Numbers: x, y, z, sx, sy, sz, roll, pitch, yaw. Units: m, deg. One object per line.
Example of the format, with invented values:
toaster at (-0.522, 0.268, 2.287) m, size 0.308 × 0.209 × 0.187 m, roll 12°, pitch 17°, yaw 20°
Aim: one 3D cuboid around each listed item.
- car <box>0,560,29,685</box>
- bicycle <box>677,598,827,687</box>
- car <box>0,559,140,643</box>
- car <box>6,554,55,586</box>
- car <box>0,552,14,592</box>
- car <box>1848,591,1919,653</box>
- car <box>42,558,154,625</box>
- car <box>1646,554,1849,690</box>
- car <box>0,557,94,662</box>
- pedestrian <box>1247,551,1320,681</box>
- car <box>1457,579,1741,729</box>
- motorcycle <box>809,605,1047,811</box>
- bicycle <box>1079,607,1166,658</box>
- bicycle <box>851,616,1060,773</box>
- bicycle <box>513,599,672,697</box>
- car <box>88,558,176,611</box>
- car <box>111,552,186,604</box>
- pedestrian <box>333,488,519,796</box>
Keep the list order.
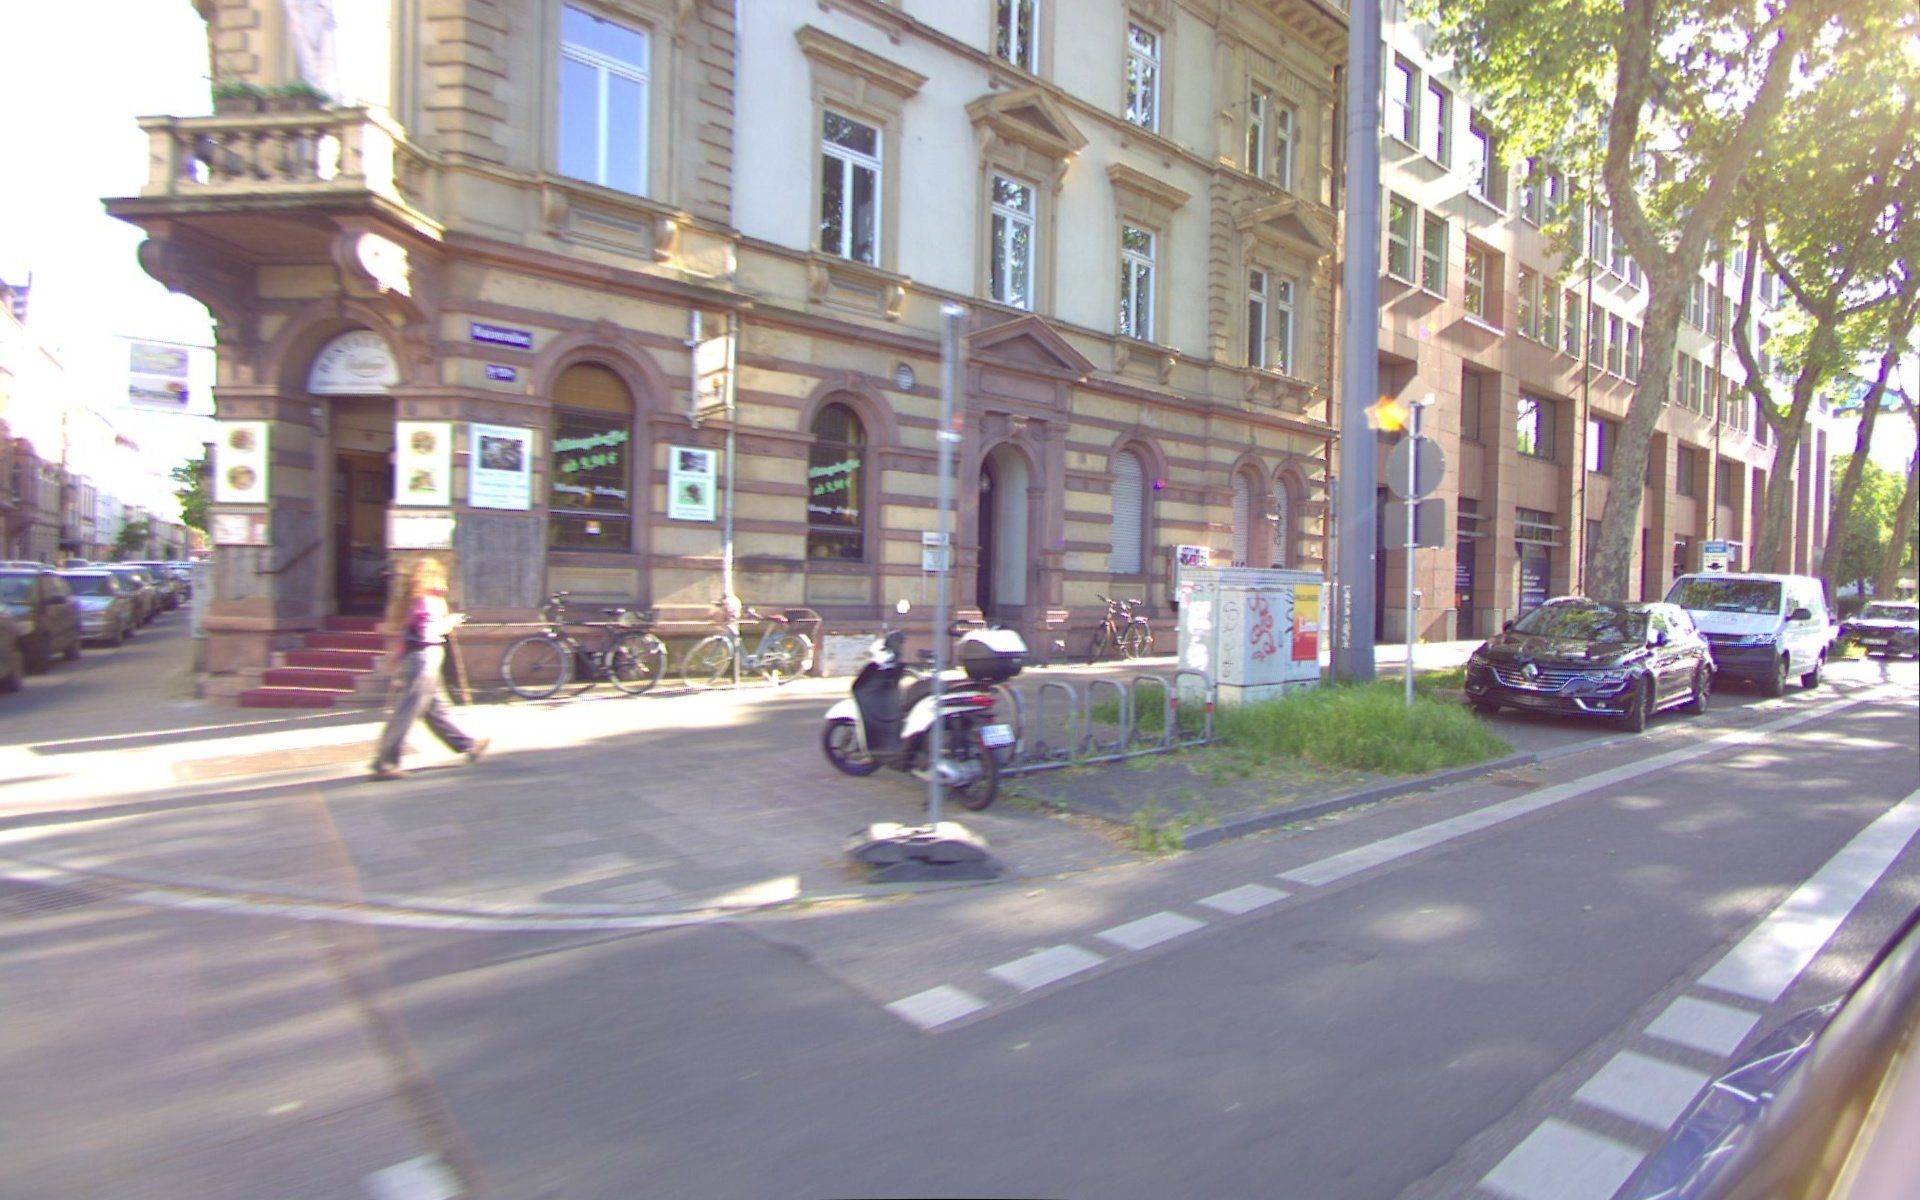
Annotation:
car at (-11.393, 0.262, 10.781) m, size 1.605 × 1.429 × 3.923 m, roll 1°, pitch 1°, yaw -34°
bicycle at (-2.539, 0.494, 12.535) m, size 1.849 × 1.010 × 0.415 m, roll 0°, pitch 1°, yaw -41°
car at (-17.286, 0.011, 19.717) m, size 1.739 × 1.460 × 4.000 m, roll 0°, pitch 0°, yaw -35°
car at (-45.128, -1.428, 49.181) m, size 1.415 × 1.460 × 2.999 m, roll 0°, pitch -1°, yaw -36°
car at (-40.258, -1.193, 41.525) m, size 1.653 × 1.616 × 3.714 m, roll 0°, pitch 2°, yaw -36°
car at (25.801, 0.560, 27.611) m, size 4.203 × 1.590 × 1.671 m, roll 0°, pitch 0°, yaw -39°
car at (-20.719, -0.220, 24.451) m, size 1.672 × 1.486 × 3.777 m, roll 0°, pitch 1°, yaw -35°
car at (13.617, 0.314, 17.393) m, size 4.641 × 2.040 × 1.859 m, roll 0°, pitch 0°, yaw -41°
car at (-14.437, 0.068, 15.223) m, size 1.668 × 1.422 × 4.002 m, roll 0°, pitch 2°, yaw -34°
pedestrian at (4.776, 0.227, 14.942) m, size 0.879 × 1.850 × 0.644 m, roll 0°, pitch -1°, yaw -40°
car at (8.279, 0.547, 12.923) m, size 4.626 × 1.533 × 1.822 m, roll 0°, pitch 3°, yaw -42°
motorcycle at (-0.285, 0.663, 7.058) m, size 0.507 × 1.246 × 1.951 m, roll 0°, pitch 0°, yaw -43°
bicycle at (2.825, 0.543, 17.512) m, size 1.634 × 0.783 × 0.550 m, roll 0°, pitch 3°, yaw -41°
bicycle at (-0.117, 0.701, 8.364) m, size 0.447 × 1.107 × 2.227 m, roll 0°, pitch 0°, yaw -38°
bicycle at (-4.159, 0.517, 11.547) m, size 1.700 × 1.033 × 0.280 m, roll 0°, pitch 2°, yaw -41°
car at (-23.384, -0.471, 28.678) m, size 1.484 × 1.408 × 3.464 m, roll 0°, pitch 2°, yaw -32°
car at (-26.919, -0.703, 33.657) m, size 1.660 × 1.634 × 3.984 m, roll 0°, pitch 0°, yaw -35°
pedestrian at (-3.945, 0.274, 7.462) m, size 1.027 × 2.039 × 1.090 m, roll 0°, pitch 0°, yaw -39°
